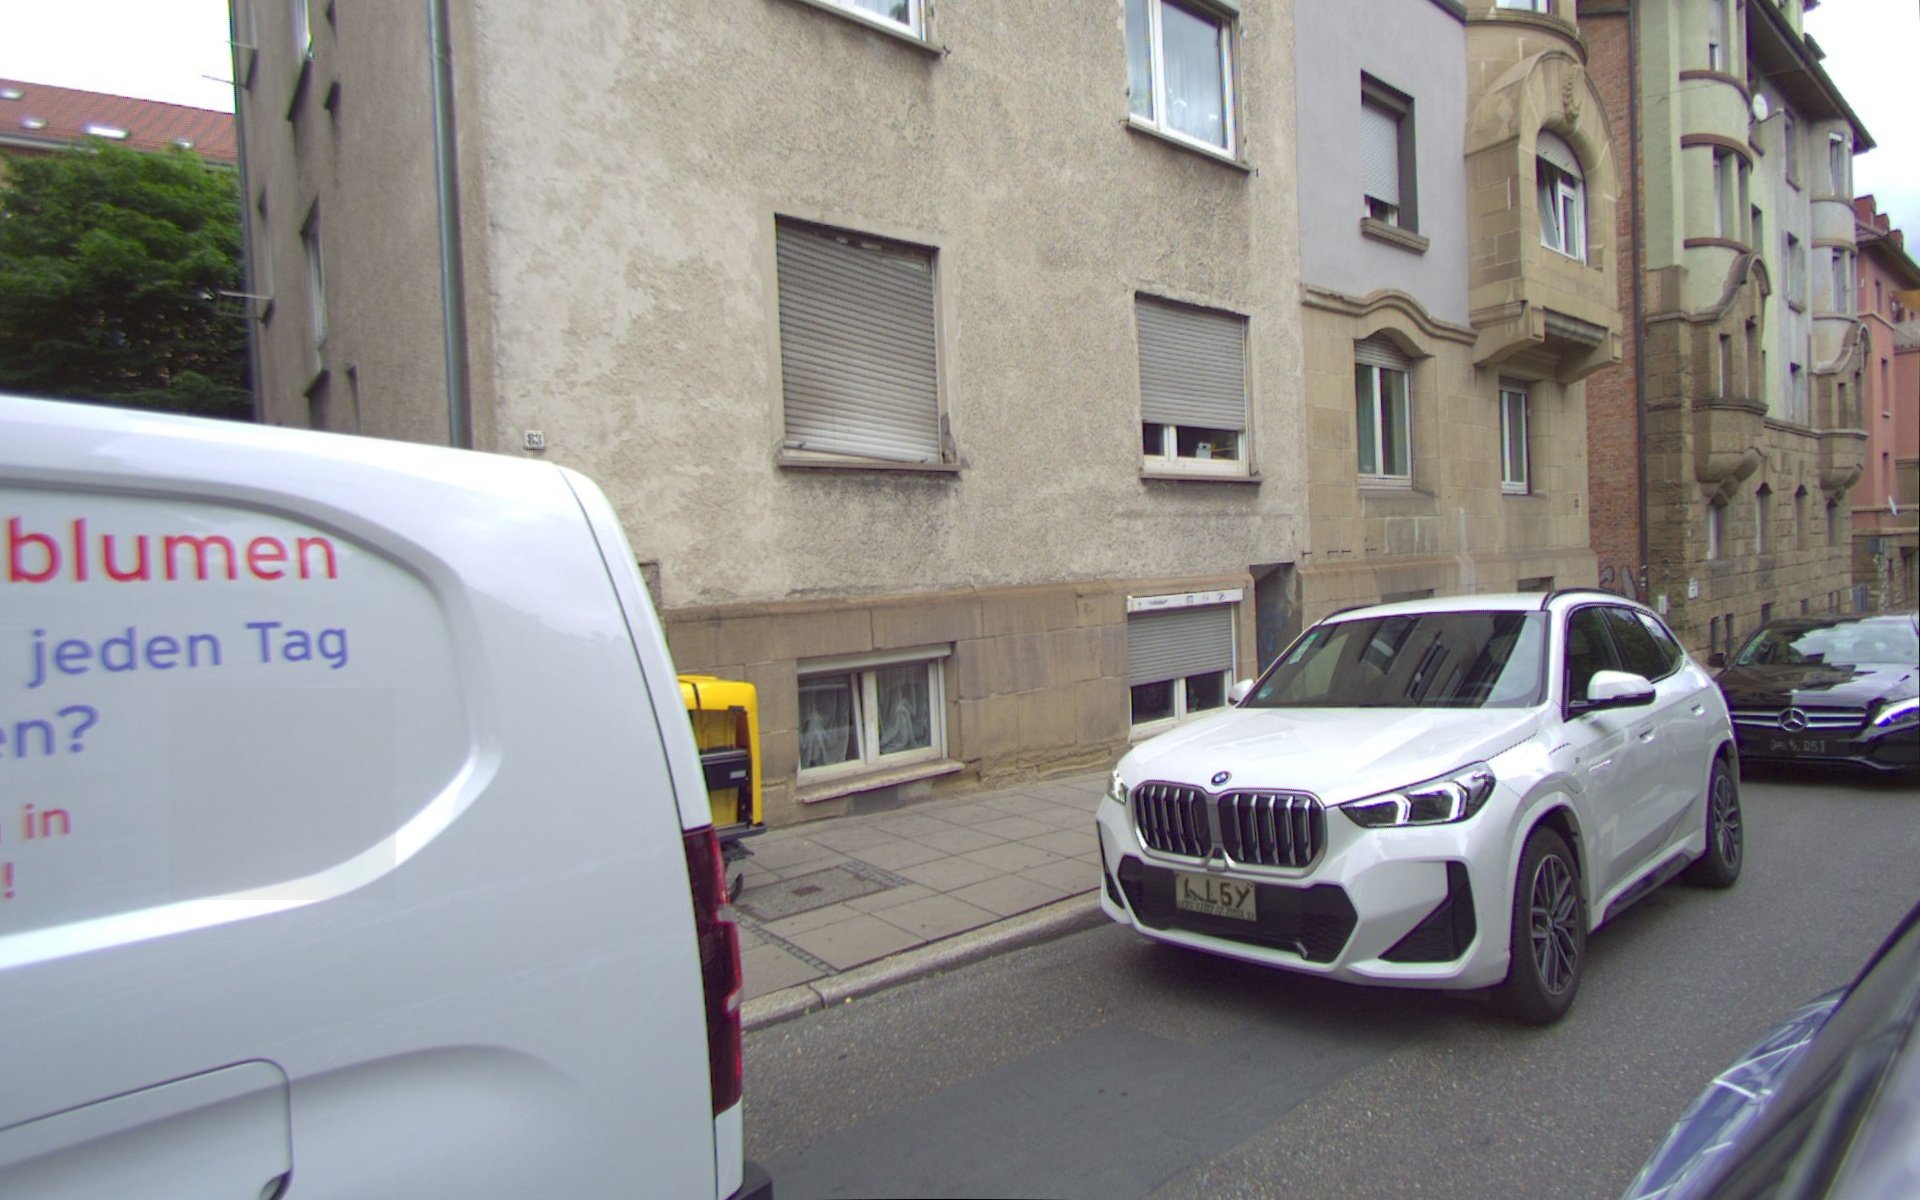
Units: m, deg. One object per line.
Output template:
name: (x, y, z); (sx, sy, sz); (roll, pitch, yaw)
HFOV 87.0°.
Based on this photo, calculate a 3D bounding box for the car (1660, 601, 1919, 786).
car: (8.437, 0.748, 9.629); (4.133, 1.395, 1.882); (-1, -3, -41)

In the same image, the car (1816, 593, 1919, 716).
car: (13.598, 0.658, 13.965); (4.226, 1.534, 1.935); (-1, -3, -40)

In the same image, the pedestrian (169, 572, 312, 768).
pedestrian: (-6.693, 0.606, 9.419); (0.807, 1.666, 0.773); (0, 5, 40)

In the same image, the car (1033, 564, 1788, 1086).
car: (2.570, 0.717, 5.206); (4.276, 1.576, 1.857); (-1, -4, -42)

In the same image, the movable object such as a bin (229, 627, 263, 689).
movable object such as a bin: (-10.993, 0.884, 15.583); (0.405, 0.923, 0.340); (0, 0, -40)

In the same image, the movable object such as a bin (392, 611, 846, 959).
movable object such as a bin: (-1.770, 0.792, 5.396); (1.979, 1.391, 1.223); (-1, 2, -43)

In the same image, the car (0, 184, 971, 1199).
car: (-2.349, 0.574, 0.879); (4.597, 1.798, 1.977); (-1, -3, -42)
